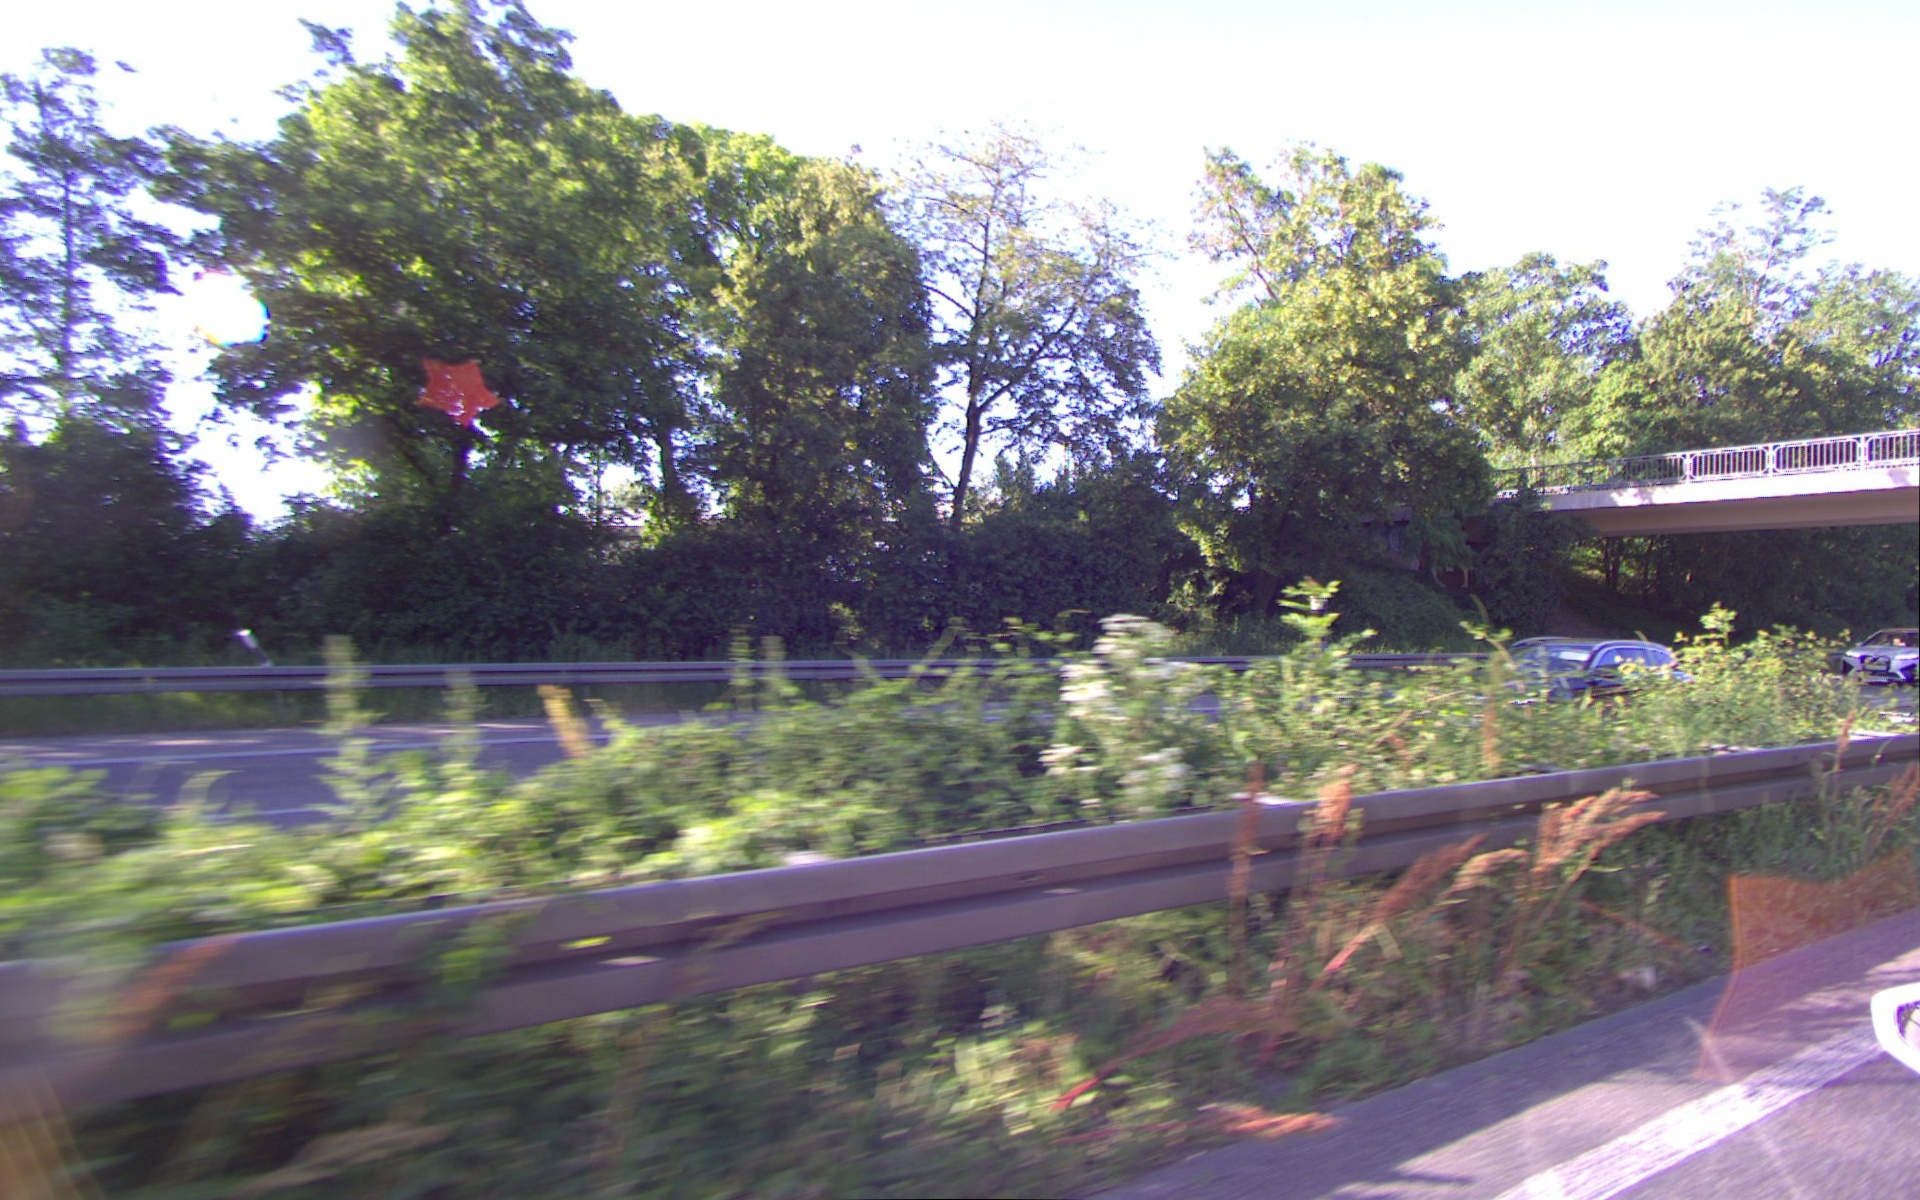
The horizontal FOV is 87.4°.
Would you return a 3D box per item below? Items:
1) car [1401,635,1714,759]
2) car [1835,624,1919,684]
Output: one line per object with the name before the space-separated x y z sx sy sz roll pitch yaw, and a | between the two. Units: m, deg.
car | 8.663 1.272 14.460 4.728 1.509 1.843 1 -1 -30
car | 29.128 1.600 30.769 4.978 1.681 1.952 1 -1 -29
